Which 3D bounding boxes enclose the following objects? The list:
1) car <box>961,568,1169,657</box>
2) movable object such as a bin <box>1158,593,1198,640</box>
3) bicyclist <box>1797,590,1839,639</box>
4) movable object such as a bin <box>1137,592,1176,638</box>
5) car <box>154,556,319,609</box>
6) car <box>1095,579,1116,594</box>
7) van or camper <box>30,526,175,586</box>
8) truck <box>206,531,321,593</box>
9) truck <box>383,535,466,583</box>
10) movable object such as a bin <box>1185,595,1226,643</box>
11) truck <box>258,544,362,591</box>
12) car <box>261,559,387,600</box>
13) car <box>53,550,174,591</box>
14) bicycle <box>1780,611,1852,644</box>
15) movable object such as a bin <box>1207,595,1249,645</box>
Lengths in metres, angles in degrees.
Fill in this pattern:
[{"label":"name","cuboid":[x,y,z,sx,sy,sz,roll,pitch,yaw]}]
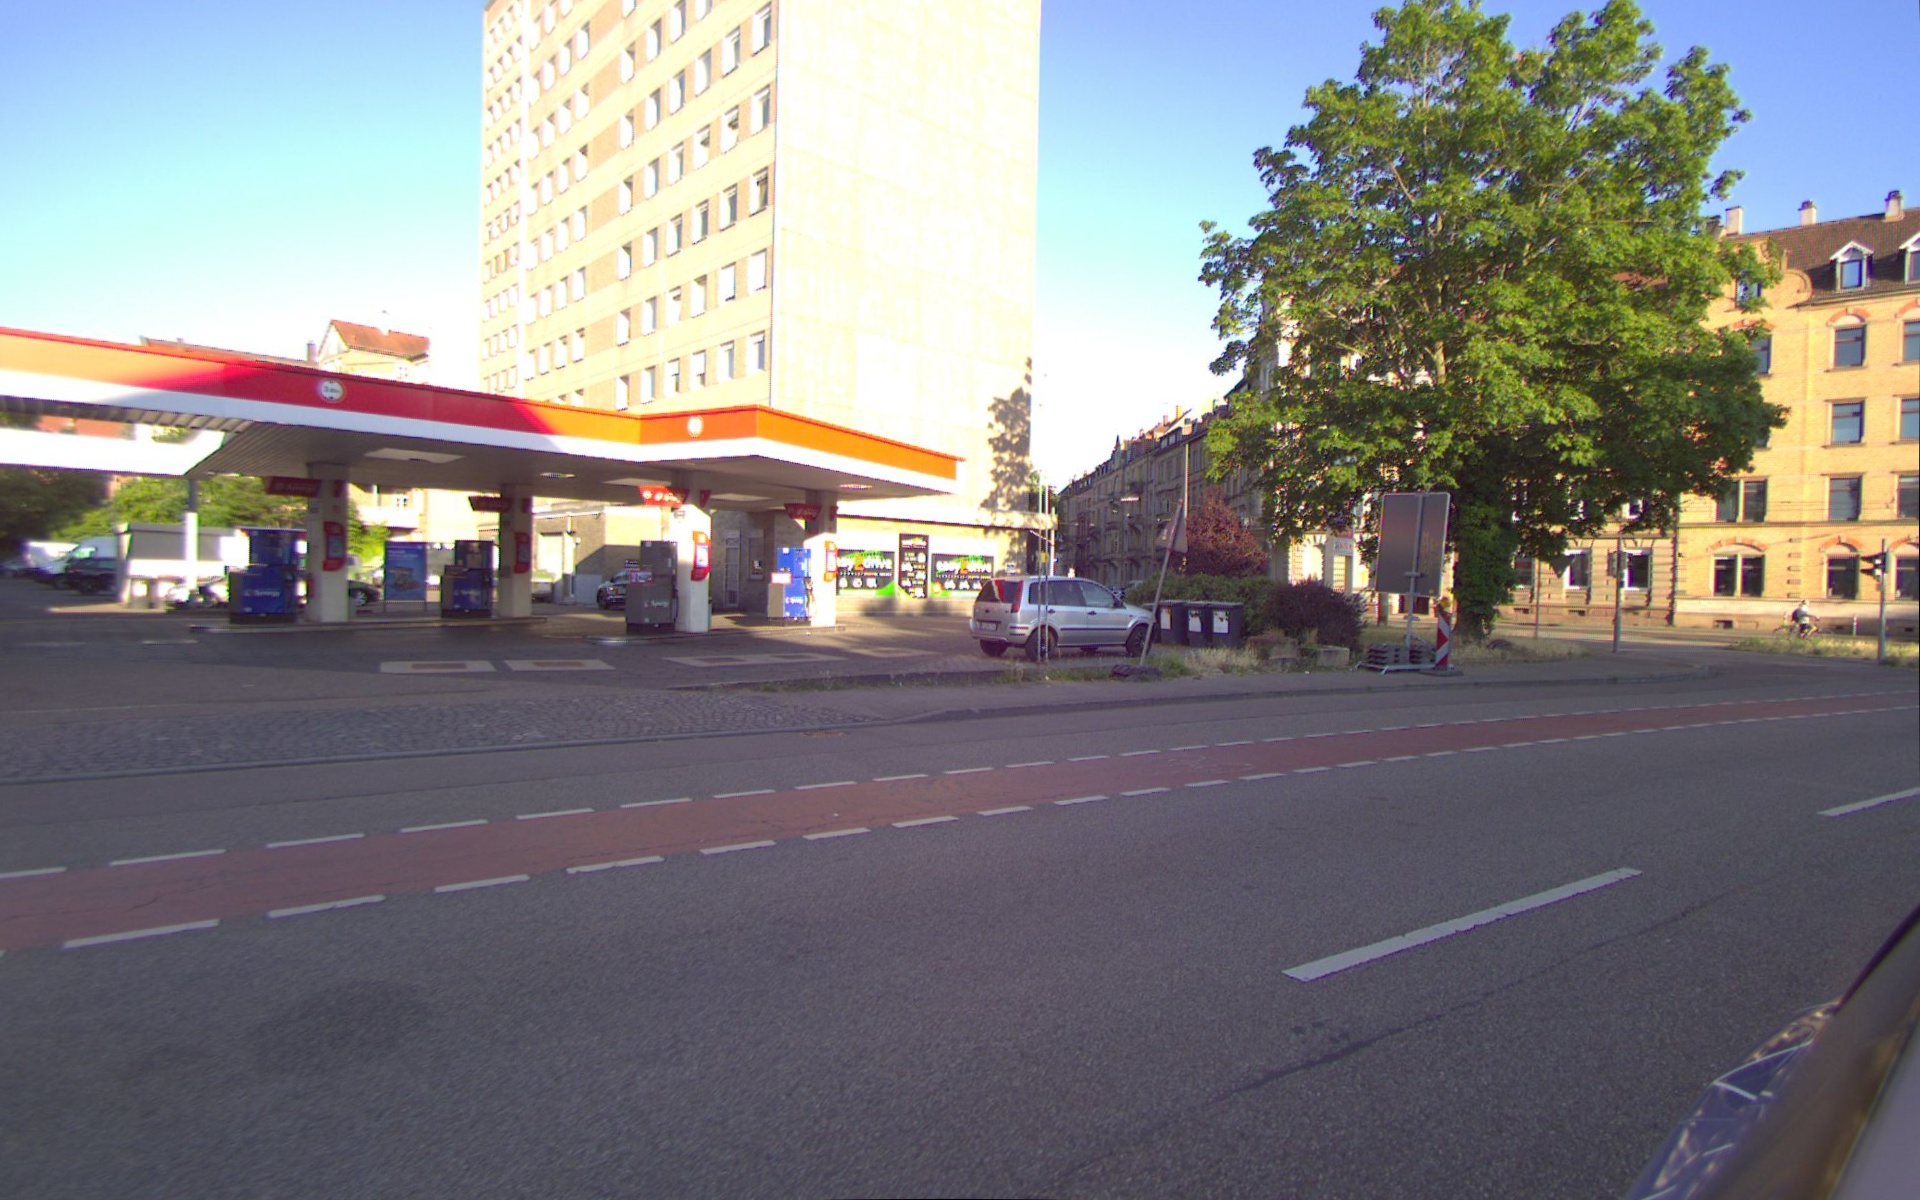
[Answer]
[{"label":"car","cuboid":[2.039,0.194,19.404,3.722,1.535,1.691,0,2,-33]},{"label":"movable object such as a bin","cuboid":[4.920,0.363,22.866,0.674,1.031,0.544,1,1,-35]},{"label":"bicyclist","cuboid":[30.213,0.488,35.632,1.062,1.669,0.721,2,1,43]},{"label":"movable object such as a bin","cuboid":[4.552,0.347,23.429,0.674,1.031,0.544,1,1,-35]},{"label":"car","cuboid":[-21.783,-0.529,30.511,3.928,1.482,1.998,0,2,-40]},{"label":"car","cuboid":[15.656,-1.437,109.131,1.647,1.565,3.119,0,0,-2]},{"label":"van or camper","cuboid":[-42.368,-2.131,50.093,2.201,2.722,5.262,2,1,43]},{"label":"truck","cuboid":[-30.512,-1.637,44.390,3.931,2.591,1.997,0,1,-42]},{"label":"truck","cuboid":[-36.062,-2.730,68.198,4.658,3.106,1.998,0,1,-40]},{"label":"movable object such as a bin","cuboid":[5.404,0.409,22.248,0.674,1.031,0.544,1,1,-35]},{"label":"truck","cuboid":[-26.963,-1.320,42.029,3.430,1.852,1.779,0,1,-41]},{"label":"car","cuboid":[-24.595,-0.777,39.175,3.928,1.482,1.998,0,2,-40]},{"label":"car","cuboid":[-35.780,-1.220,42.832,3.832,1.630,1.682,0,0,-44]},{"label":"bicycle","cuboid":[30.155,0.949,35.673,1.921,1.072,0.444,2,1,43]},{"label":"movable object such as a bin","cuboid":[5.711,0.412,21.559,0.674,1.031,0.544,1,1,-35]}]
